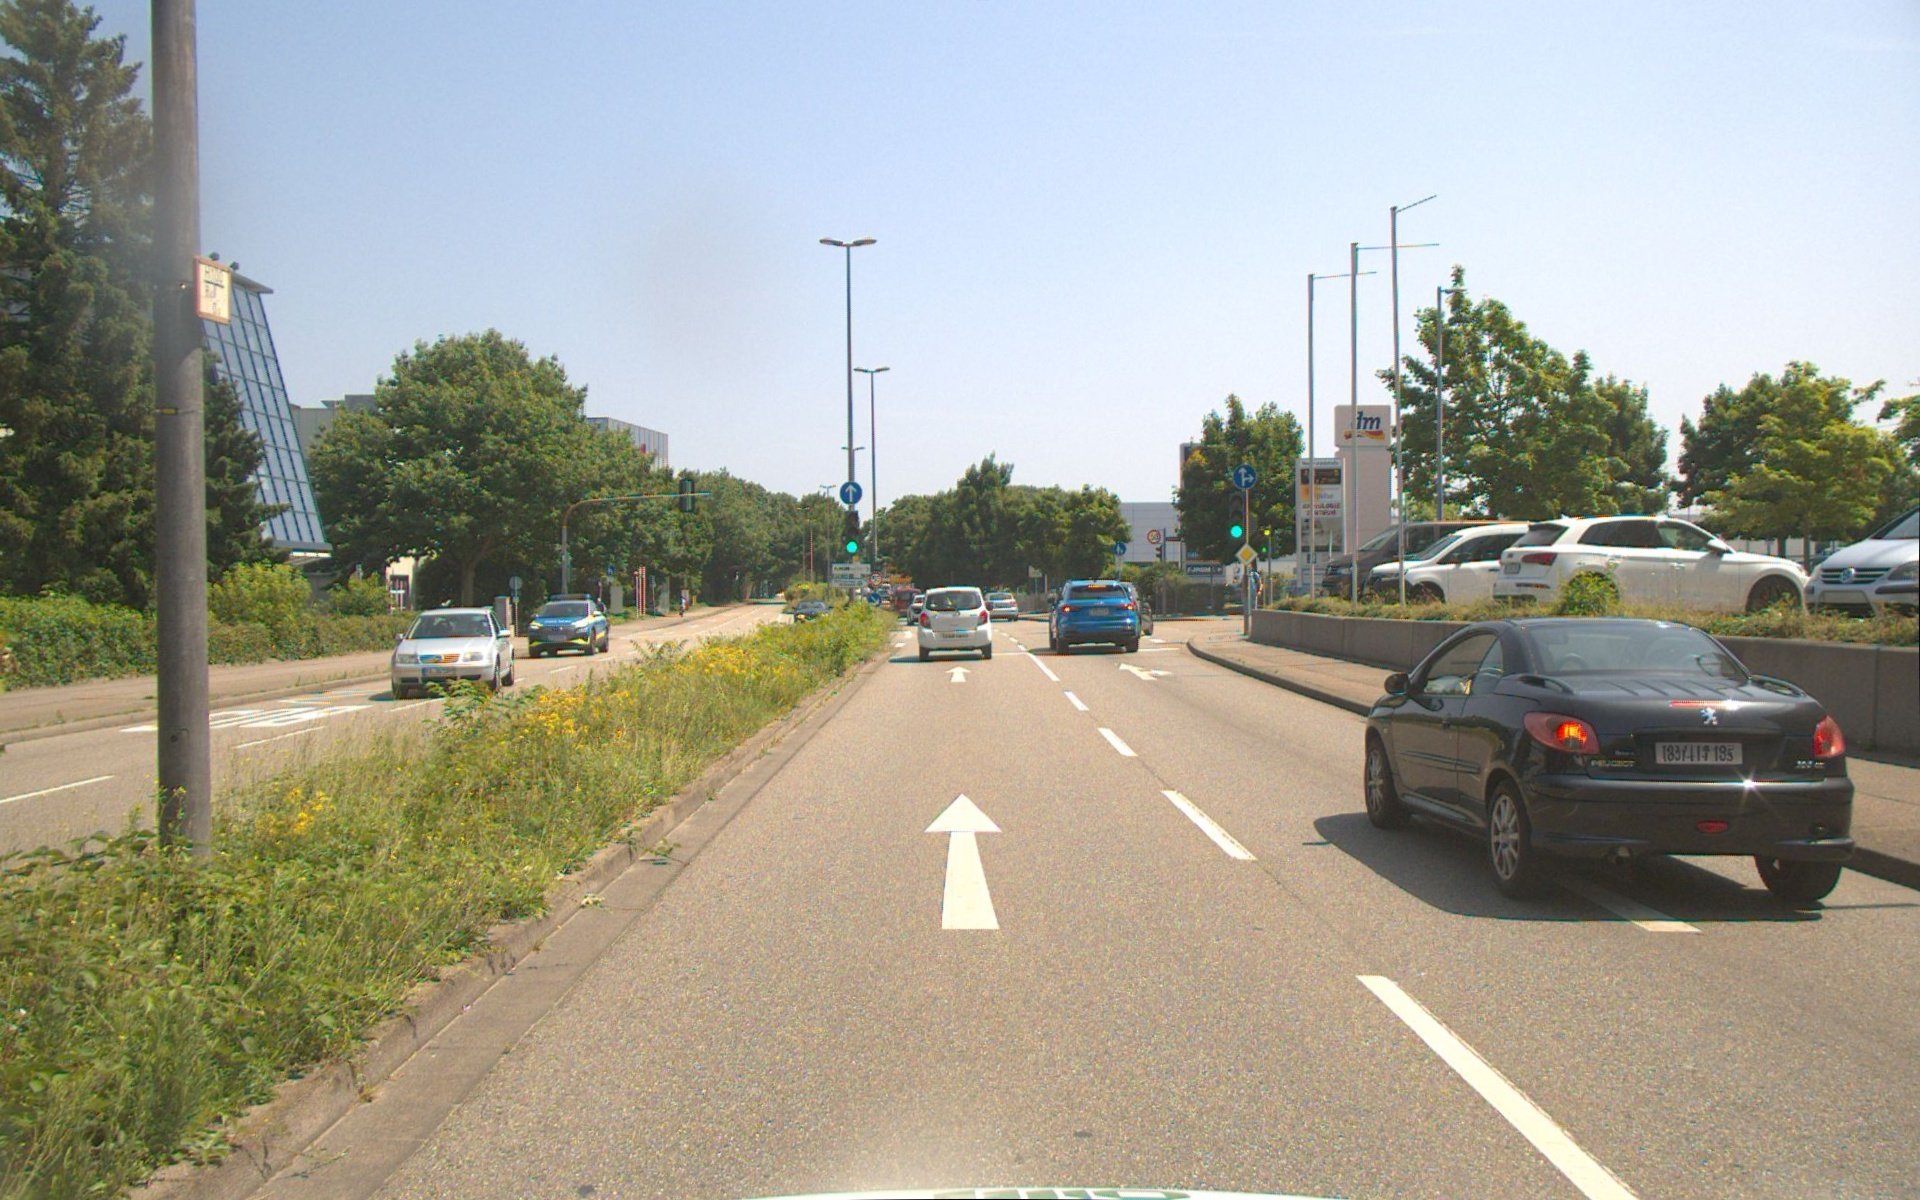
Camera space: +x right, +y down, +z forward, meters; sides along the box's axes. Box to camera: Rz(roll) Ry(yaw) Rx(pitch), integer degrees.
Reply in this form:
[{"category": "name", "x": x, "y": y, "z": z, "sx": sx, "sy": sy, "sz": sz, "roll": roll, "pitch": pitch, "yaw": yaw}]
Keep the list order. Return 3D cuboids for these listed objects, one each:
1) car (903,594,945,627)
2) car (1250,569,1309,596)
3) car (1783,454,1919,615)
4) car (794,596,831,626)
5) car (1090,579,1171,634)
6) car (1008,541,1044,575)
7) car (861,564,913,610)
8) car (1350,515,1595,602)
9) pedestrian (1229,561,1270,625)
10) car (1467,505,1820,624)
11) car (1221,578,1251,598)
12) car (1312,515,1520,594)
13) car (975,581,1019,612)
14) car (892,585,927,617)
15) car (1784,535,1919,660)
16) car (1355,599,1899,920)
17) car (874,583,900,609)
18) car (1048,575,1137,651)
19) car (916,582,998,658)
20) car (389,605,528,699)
[{"category": "car", "x": -1.733, "y": 0.497, "z": 79.011, "sx": 1.953, "sy": 1.467, "sz": 3.998, "roll": -1, "pitch": 0, "yaw": -2}, {"category": "car", "x": 18.555, "y": -1.003, "z": 96.031, "sx": 1.495, "sy": 1.489, "sz": 3.118, "roll": -1, "pitch": 0, "yaw": -40}, {"category": "car", "x": 10.442, "y": -0.658, "z": 16.472, "sx": 3.858, "sy": 1.477, "sz": 1.757, "roll": -2, "pitch": 0, "yaw": -16}, {"category": "car", "x": -6.672, "y": 0.462, "z": 74.680, "sx": 1.544, "sy": 1.291, "sz": 3.725, "roll": -1, "pitch": 0, "yaw": -6}, {"category": "car", "x": 4.601, "y": 0.144, "z": 44.267, "sx": 1.427, "sy": 1.400, "sz": 3.493, "roll": -1, "pitch": 0, "yaw": 18}, {"category": "car", "x": 4.134, "y": -2.655, "z": 104.240, "sx": 1.735, "sy": 2.048, "sz": 3.987, "roll": -1, "pitch": 1, "yaw": -5}, {"category": "car", "x": -2.891, "y": -0.531, "z": 64.931, "sx": 1.784, "sy": 1.690, "sz": 3.996, "roll": -1, "pitch": 2, "yaw": -6}, {"category": "car", "x": 10.235, "y": -0.816, "z": 33.255, "sx": 4.260, "sy": 1.571, "sz": 1.999, "roll": -2, "pitch": 0, "yaw": -4}, {"category": "pedestrian", "x": 7.608, "y": -0.182, "z": 43.423, "sx": 0.759, "sy": 1.636, "sz": 1.084, "roll": -1, "pitch": 0, "yaw": 26}, {"category": "car", "x": 10.133, "y": -0.516, "z": 24.760, "sx": 4.444, "sy": 1.571, "sz": 1.999, "roll": -2, "pitch": 0, "yaw": -2}, {"category": "car", "x": 18.664, "y": -0.824, "z": 111.980, "sx": 1.473, "sy": 1.284, "sz": 3.165, "roll": -1, "pitch": 0, "yaw": 0}, {"category": "car", "x": 9.892, "y": -0.972, "z": 36.083, "sx": 3.908, "sy": 1.571, "sz": 1.999, "roll": -2, "pitch": 0, "yaw": -4}, {"category": "car", "x": 1.814, "y": -0.203, "z": 82.271, "sx": 1.953, "sy": 1.445, "sz": 3.999, "roll": -2, "pitch": 0, "yaw": -2}, {"category": "car", "x": -2.900, "y": 0.052, "z": 93.803, "sx": 1.741, "sy": 1.770, "sz": 3.996, "roll": -1, "pitch": 0, "yaw": -5}, {"category": "car", "x": 12.518, "y": -0.076, "z": 20.432, "sx": 3.837, "sy": 1.477, "sz": 1.766, "roll": -2, "pitch": 0, "yaw": 12}, {"category": "car", "x": 3.518, "y": 0.739, "z": 9.453, "sx": 1.594, "sy": 1.387, "sz": 3.605, "roll": 1, "pitch": 1, "yaw": -1}, {"category": "car", "x": -5.207, "y": -0.298, "z": 117.924, "sx": 1.761, "sy": 1.719, "sz": 3.999, "roll": -2, "pitch": 0, "yaw": -2}, {"category": "car", "x": 2.960, "y": 0.254, "z": 37.573, "sx": 1.790, "sy": 1.607, "sz": 3.606, "roll": -1, "pitch": 1, "yaw": 1}, {"category": "car", "x": -0.061, "y": 0.394, "z": 36.540, "sx": 1.712, "sy": 1.546, "sz": 3.746, "roll": 0, "pitch": 1, "yaw": 0}, {"category": "car", "x": -8.652, "y": 0.839, "z": 28.839, "sx": 1.704, "sy": 1.437, "sz": 4.362, "roll": -1, "pitch": 0, "yaw": -9}]
